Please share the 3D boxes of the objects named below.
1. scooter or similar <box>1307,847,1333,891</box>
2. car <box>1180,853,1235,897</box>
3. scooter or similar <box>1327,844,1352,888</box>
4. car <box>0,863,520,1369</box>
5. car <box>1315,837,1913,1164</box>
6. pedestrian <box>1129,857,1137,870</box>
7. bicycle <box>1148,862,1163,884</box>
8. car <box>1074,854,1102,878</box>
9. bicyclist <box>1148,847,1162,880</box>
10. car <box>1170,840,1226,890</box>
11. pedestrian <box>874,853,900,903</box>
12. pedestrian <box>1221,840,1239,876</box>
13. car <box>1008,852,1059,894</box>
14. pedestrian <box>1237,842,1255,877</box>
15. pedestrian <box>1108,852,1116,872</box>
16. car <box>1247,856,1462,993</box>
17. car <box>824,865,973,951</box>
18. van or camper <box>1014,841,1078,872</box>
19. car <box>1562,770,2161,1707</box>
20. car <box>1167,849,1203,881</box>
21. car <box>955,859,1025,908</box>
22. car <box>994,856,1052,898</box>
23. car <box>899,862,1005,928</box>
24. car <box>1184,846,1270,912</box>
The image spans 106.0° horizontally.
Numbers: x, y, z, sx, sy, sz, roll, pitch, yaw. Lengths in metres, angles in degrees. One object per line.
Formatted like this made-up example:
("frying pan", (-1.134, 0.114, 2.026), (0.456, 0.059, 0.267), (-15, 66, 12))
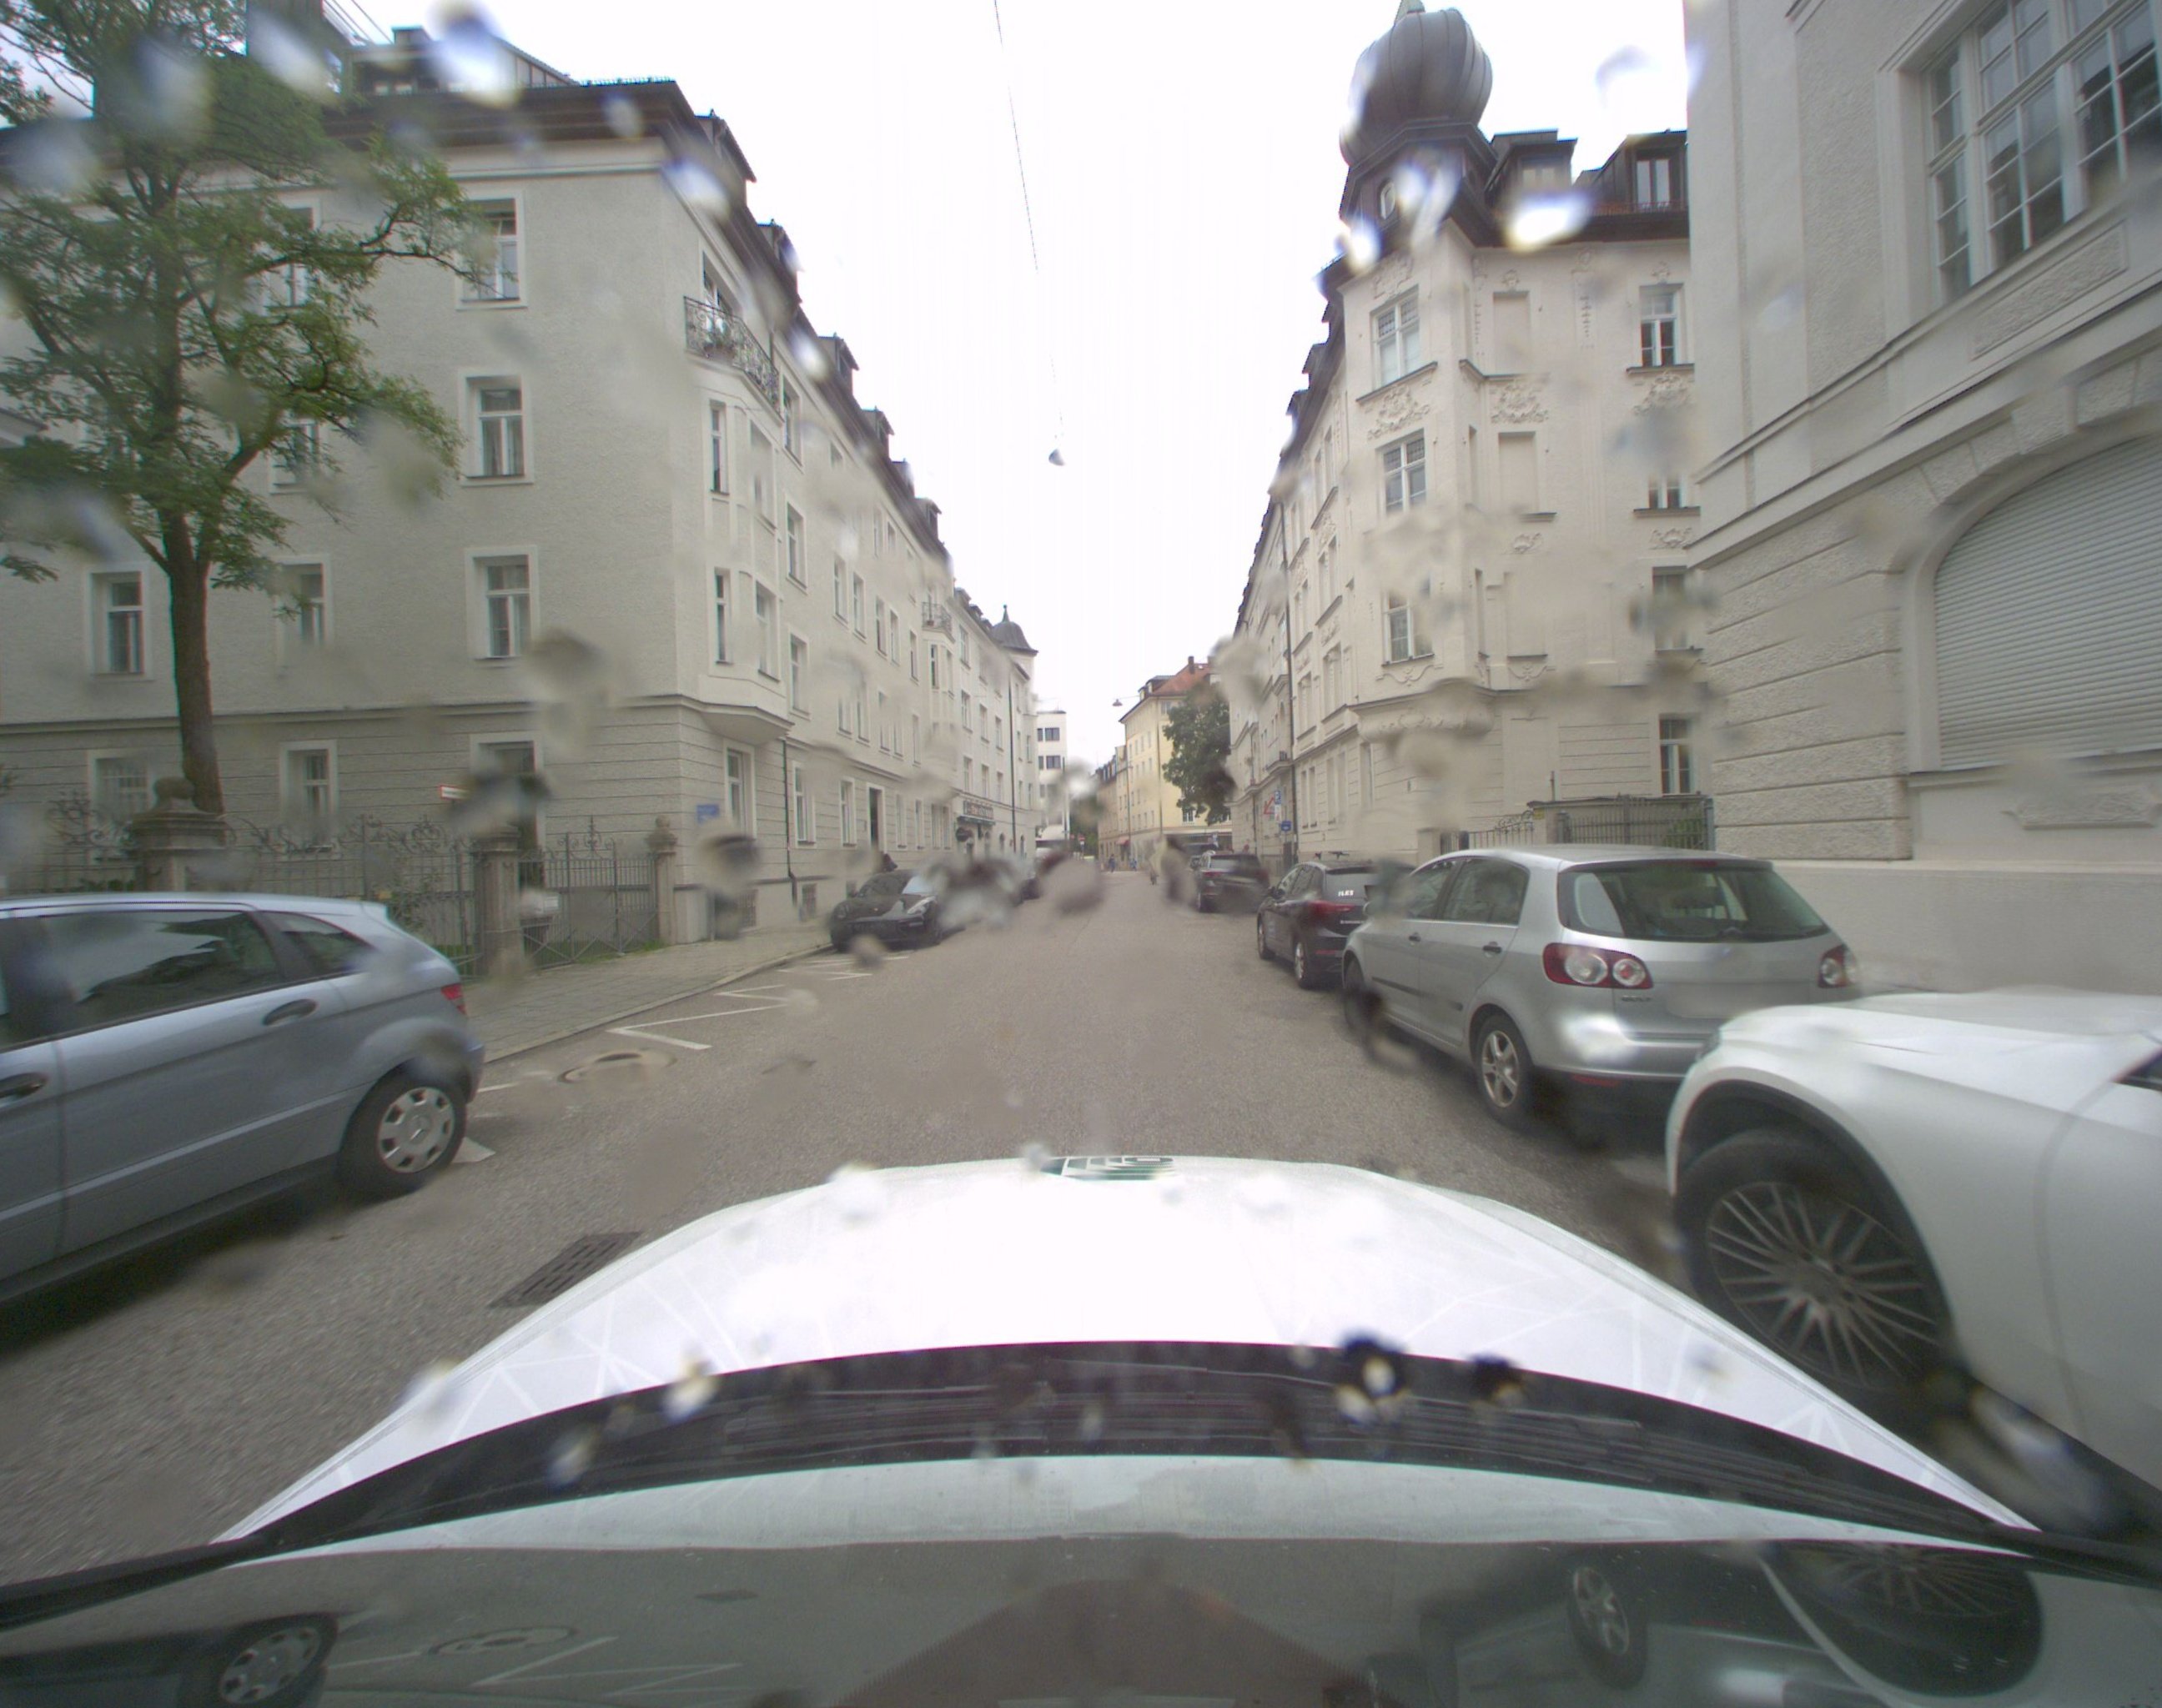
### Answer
("scooter or similar", (7.435, 0.449, 25.377), (0.537, 1.287, 1.508), (-4, 0, 11))
("car", (4.221, 0.657, 27.588), (1.655, 1.395, 3.587), (0, 0, 6))
("scooter or similar", (8.007, 0.350, 25.268), (0.503, 1.287, 1.356), (-4, 0, 12))
("car", (-4.364, 0.933, 2.844), (1.689, 1.580, 4.066), (-4, 0, 4))
("car", (3.094, 0.693, 5.850), (1.702, 1.501, 4.000), (-1, 0, 1))
("pedestrian", (5.303, 0.963, 82.814), (0.695, 1.270, 0.652), (-3, 0, 8))
("bicycle", (3.739, 0.946, 40.718), (0.636, 1.004, 1.577), (-2, 0, 8))
("car", (0.541, 0.893, 61.009), (1.668, 1.597, 3.951), (-4, -1, 5))
("bicyclist", (3.717, 0.457, 40.729), (0.602, 1.606, 0.759), (-2, 0, 7))
("car", (4.709, 0.409, 33.284), (1.902, 1.885, 4.718), (0, 0, 4))
("pedestrian", (-6.777, 0.825, 28.489), (0.695, 1.707, 0.665), (-2, 0, 1))
("pedestrian", (7.380, 0.217, 40.332), (0.700, 1.728, 0.703), (-3, 0, 1))
("car", (-2.127, 0.820, 37.412), (1.739, 1.673, 4.278), (-5, 0, 2))
("pedestrian", (8.233, 0.255, 40.709), (0.677, 1.674, 0.654), (-4, 0, 1))
("pedestrian", (2.649, 0.682, 69.121), (0.607, 1.661, 0.552), (-2, 0, 8))
("car", (3.261, 0.747, 10.519), (1.606, 1.395, 4.003), (-1, 0, 3))
("car", (-3.517, 0.980, 16.656), (1.843, 1.367, 4.703), (-2, 0, 1))
("van or camper", (-3.355, 0.222, 77.361), (5.894, 2.677, 1.870), (-2, -2, -5))
("car", (2.627, 0.659, 0.859), (1.887, 1.636, 4.397), (-2, 1, 4))
("car", (5.381, 0.531, 41.994), (1.697, 1.471, 4.209), (-2, 0, 7))
("car", (-2.986, 0.942, 27.600), (1.805, 1.385, 4.443), (-4, 0, 0))
("car", (-2.228, 0.874, 32.422), (1.734, 1.487, 4.184), (-2, 0, 3))
("car", (-3.349, 1.023, 22.092), (1.787, 1.419, 4.515), (-5, 0, 4))
("car", (3.818, 0.596, 21.824), (1.701, 1.587, 4.002), (-1, 0, 2))
